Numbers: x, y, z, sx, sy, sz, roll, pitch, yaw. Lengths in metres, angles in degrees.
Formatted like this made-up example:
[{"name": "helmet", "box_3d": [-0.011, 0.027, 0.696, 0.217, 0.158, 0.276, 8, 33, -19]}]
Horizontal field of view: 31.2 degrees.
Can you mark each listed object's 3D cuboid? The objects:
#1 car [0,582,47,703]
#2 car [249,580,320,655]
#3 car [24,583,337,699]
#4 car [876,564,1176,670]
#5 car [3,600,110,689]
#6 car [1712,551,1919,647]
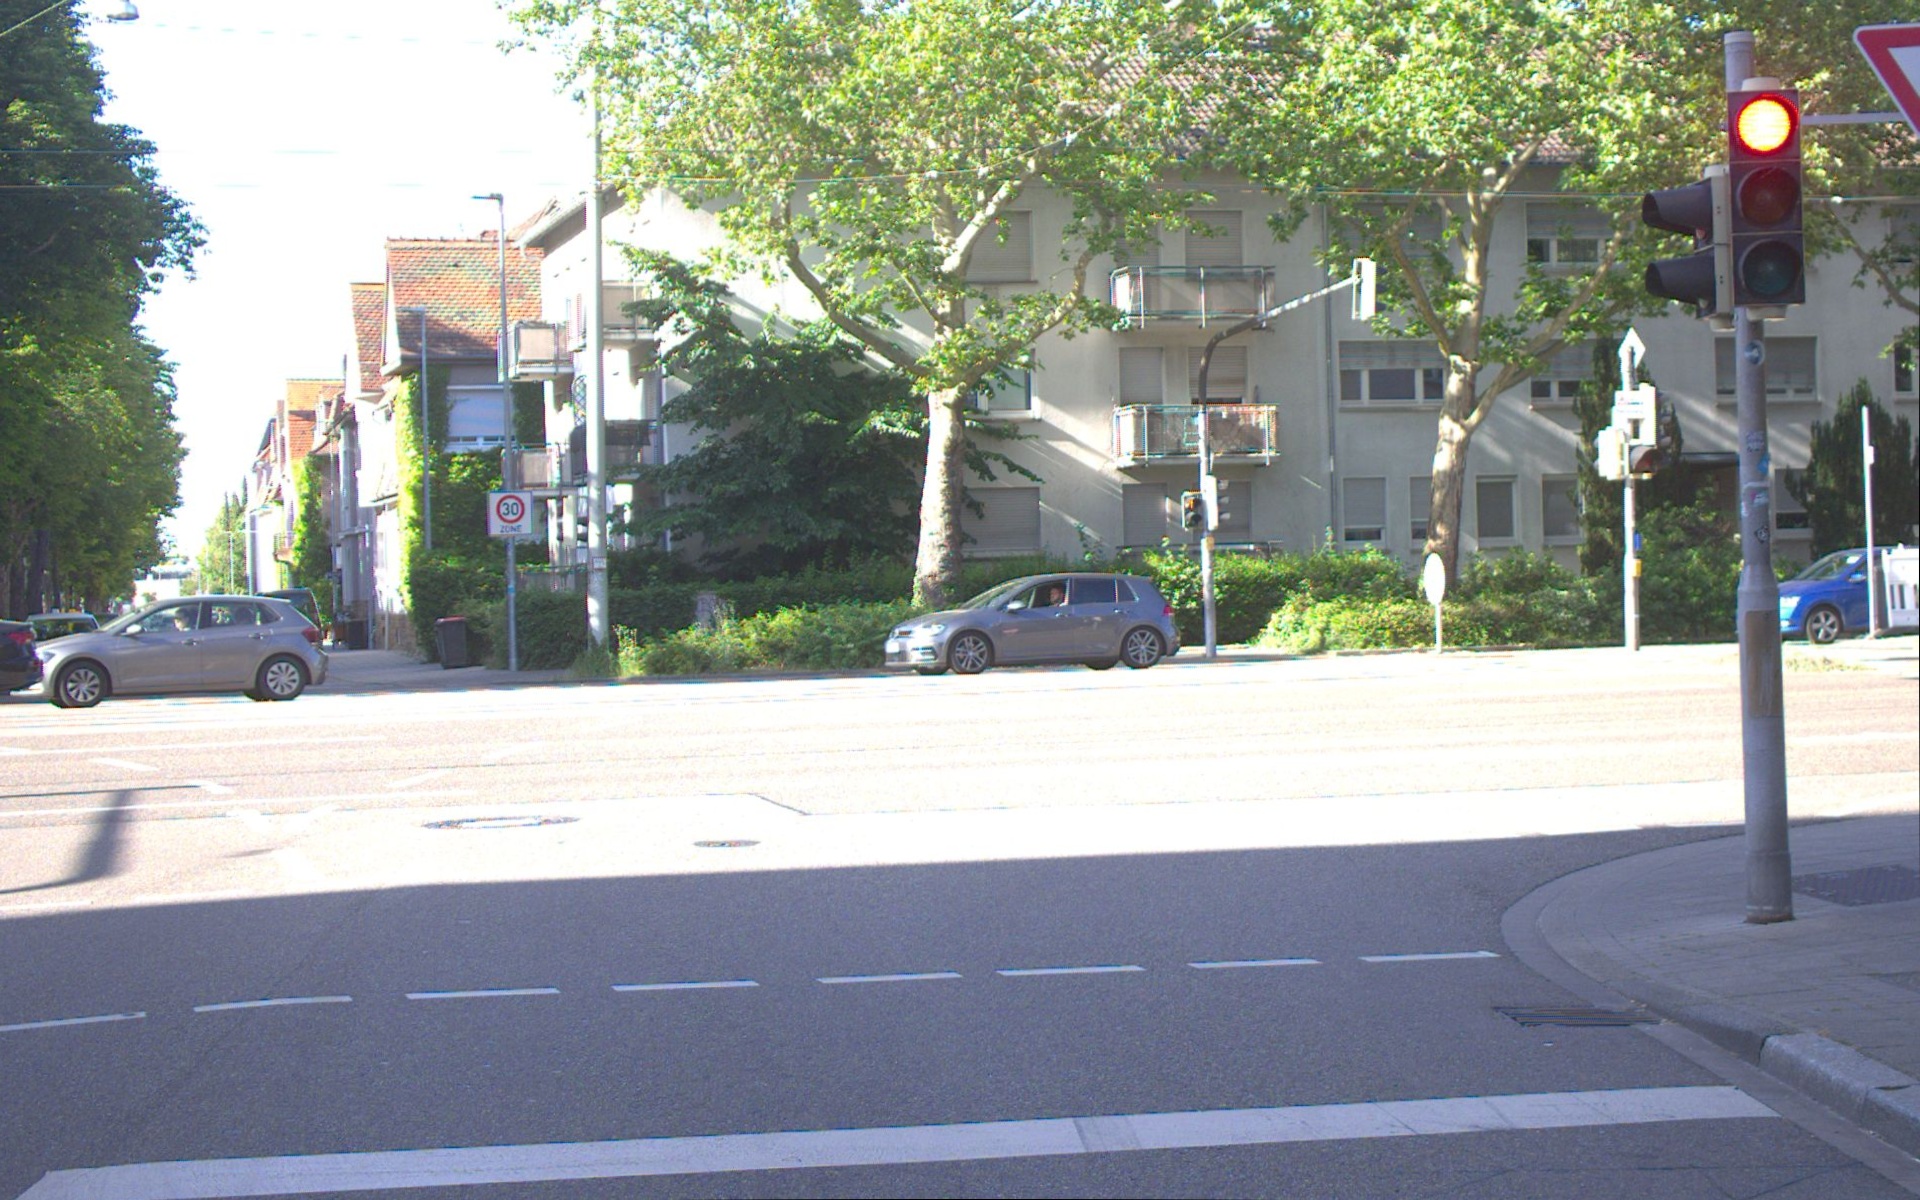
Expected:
[{"name": "car", "box_3d": [-13.055, 0.537, 40.482, 4.266, 1.395, 1.646, -1, 1, -21]}, {"name": "car", "box_3d": [-18.662, 0.459, 94.887, 1.772, 1.912, 3.535, -3, 1, -12]}, {"name": "car", "box_3d": [-10.223, 0.516, 45.075, 3.780, 1.395, 1.646, -1, 1, -21]}, {"name": "car", "box_3d": [0.939, 0.228, 49.158, 3.938, 1.395, 1.646, -1, 1, -21]}, {"name": "car", "box_3d": [-16.764, 0.804, 63.916, 1.698, 1.478, 3.535, -3, 1, -12]}, {"name": "car", "box_3d": [13.781, -0.032, 53.299, 3.779, 1.395, 1.646, -1, 1, -15]}]
